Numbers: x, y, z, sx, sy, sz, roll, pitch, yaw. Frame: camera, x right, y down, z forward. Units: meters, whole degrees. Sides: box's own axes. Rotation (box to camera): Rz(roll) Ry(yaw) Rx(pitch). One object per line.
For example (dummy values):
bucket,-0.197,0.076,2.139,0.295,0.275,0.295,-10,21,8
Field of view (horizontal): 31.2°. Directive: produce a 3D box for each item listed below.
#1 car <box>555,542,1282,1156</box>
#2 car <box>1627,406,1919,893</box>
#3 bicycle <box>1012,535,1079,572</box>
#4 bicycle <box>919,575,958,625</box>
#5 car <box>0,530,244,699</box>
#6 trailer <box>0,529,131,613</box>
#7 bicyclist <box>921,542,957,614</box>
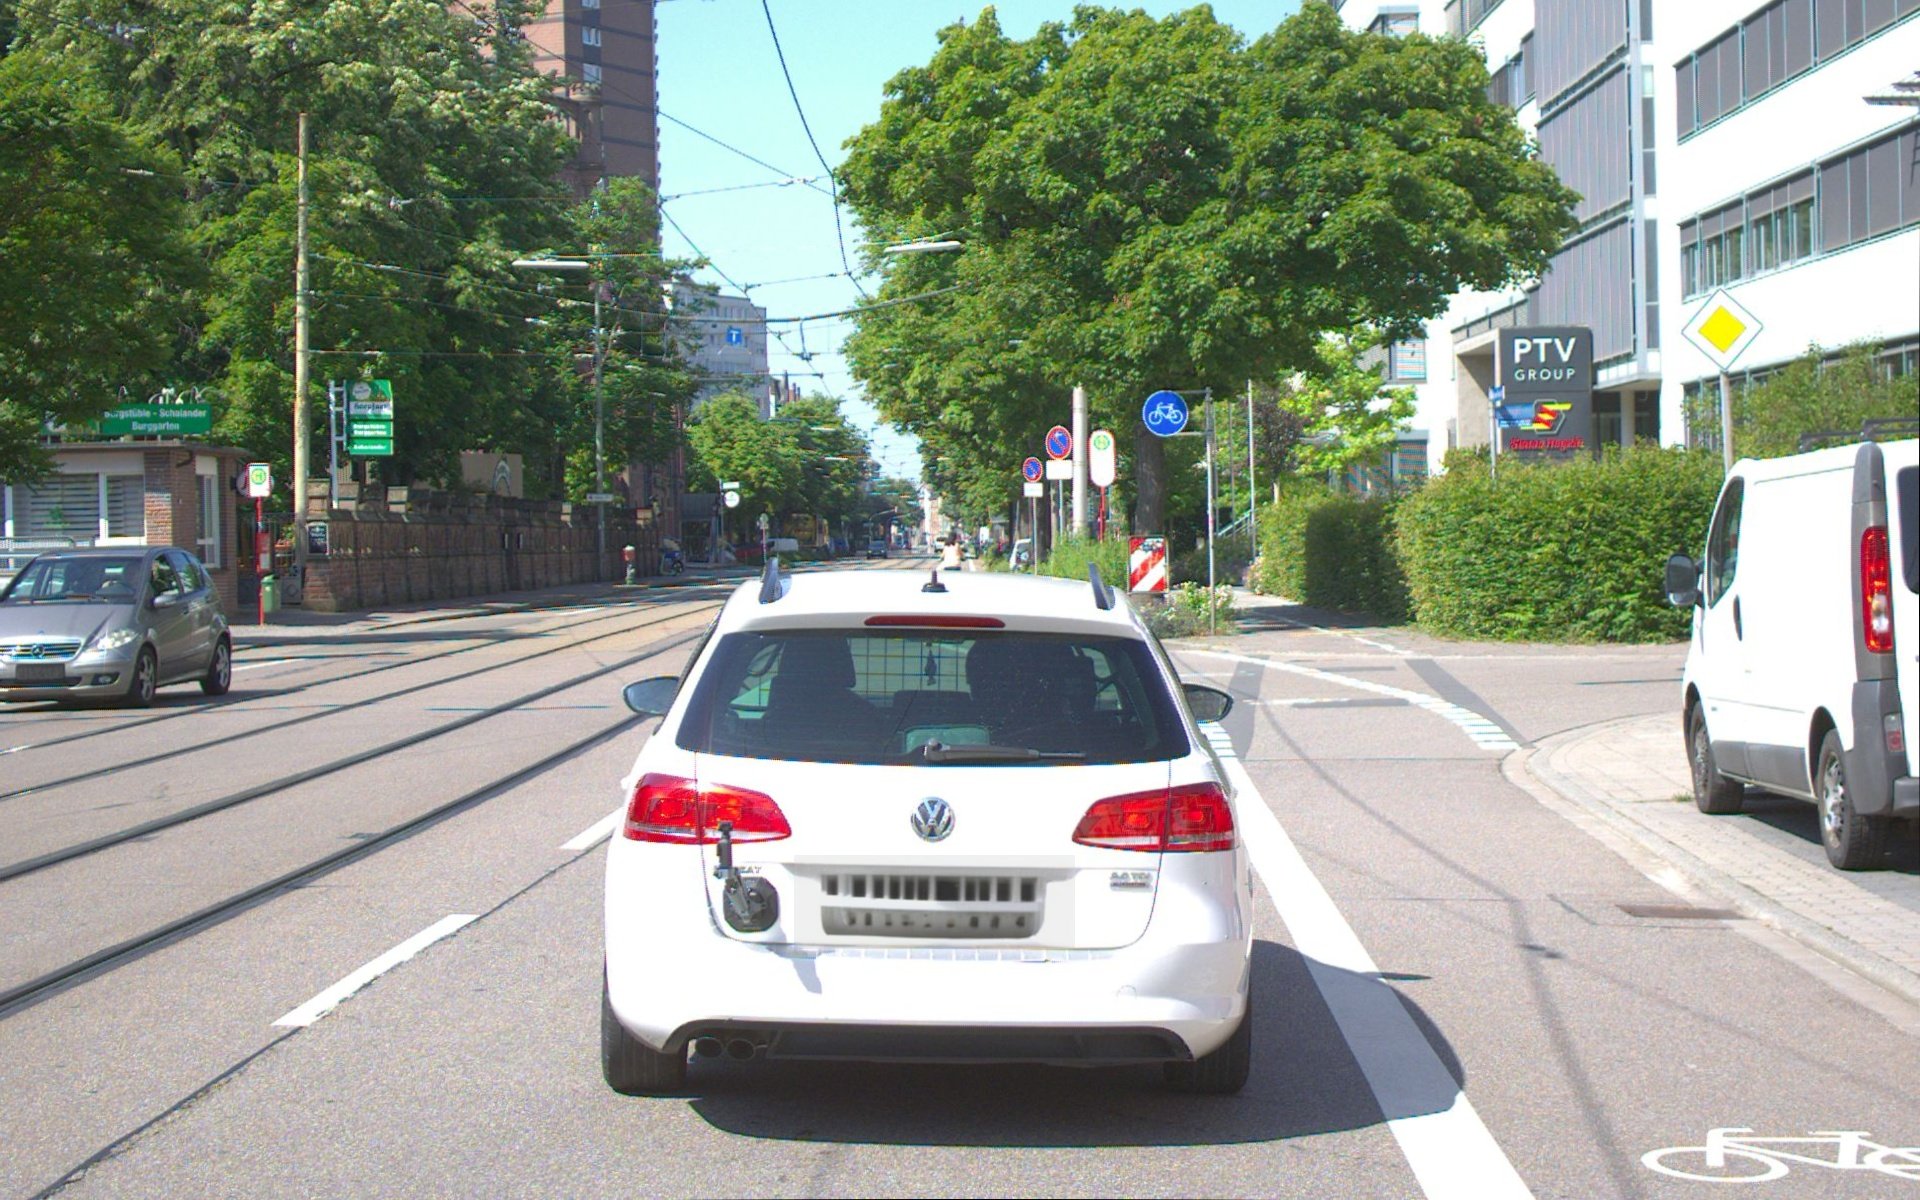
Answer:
car,-0.083,0.571,10.587,1.754,1.437,4.413,1,1,1
car,4.833,0.118,17.125,1.976,2.047,5.191,-3,1,1
bicycle,2.523,-1.371,101.591,1.911,1.079,0.551,1,1,-2
bicycle,-0.482,-0.009,77.539,0.811,1.074,2.012,-1,1,1
car,-8.628,0.123,34.575,1.746,1.566,3.891,-2,1,4
trailer,-17.271,-0.546,63.991,3.215,1.520,1.778,-1,1,2
bicyclist,-0.467,-0.498,77.420,0.786,1.623,0.738,0,0,1
